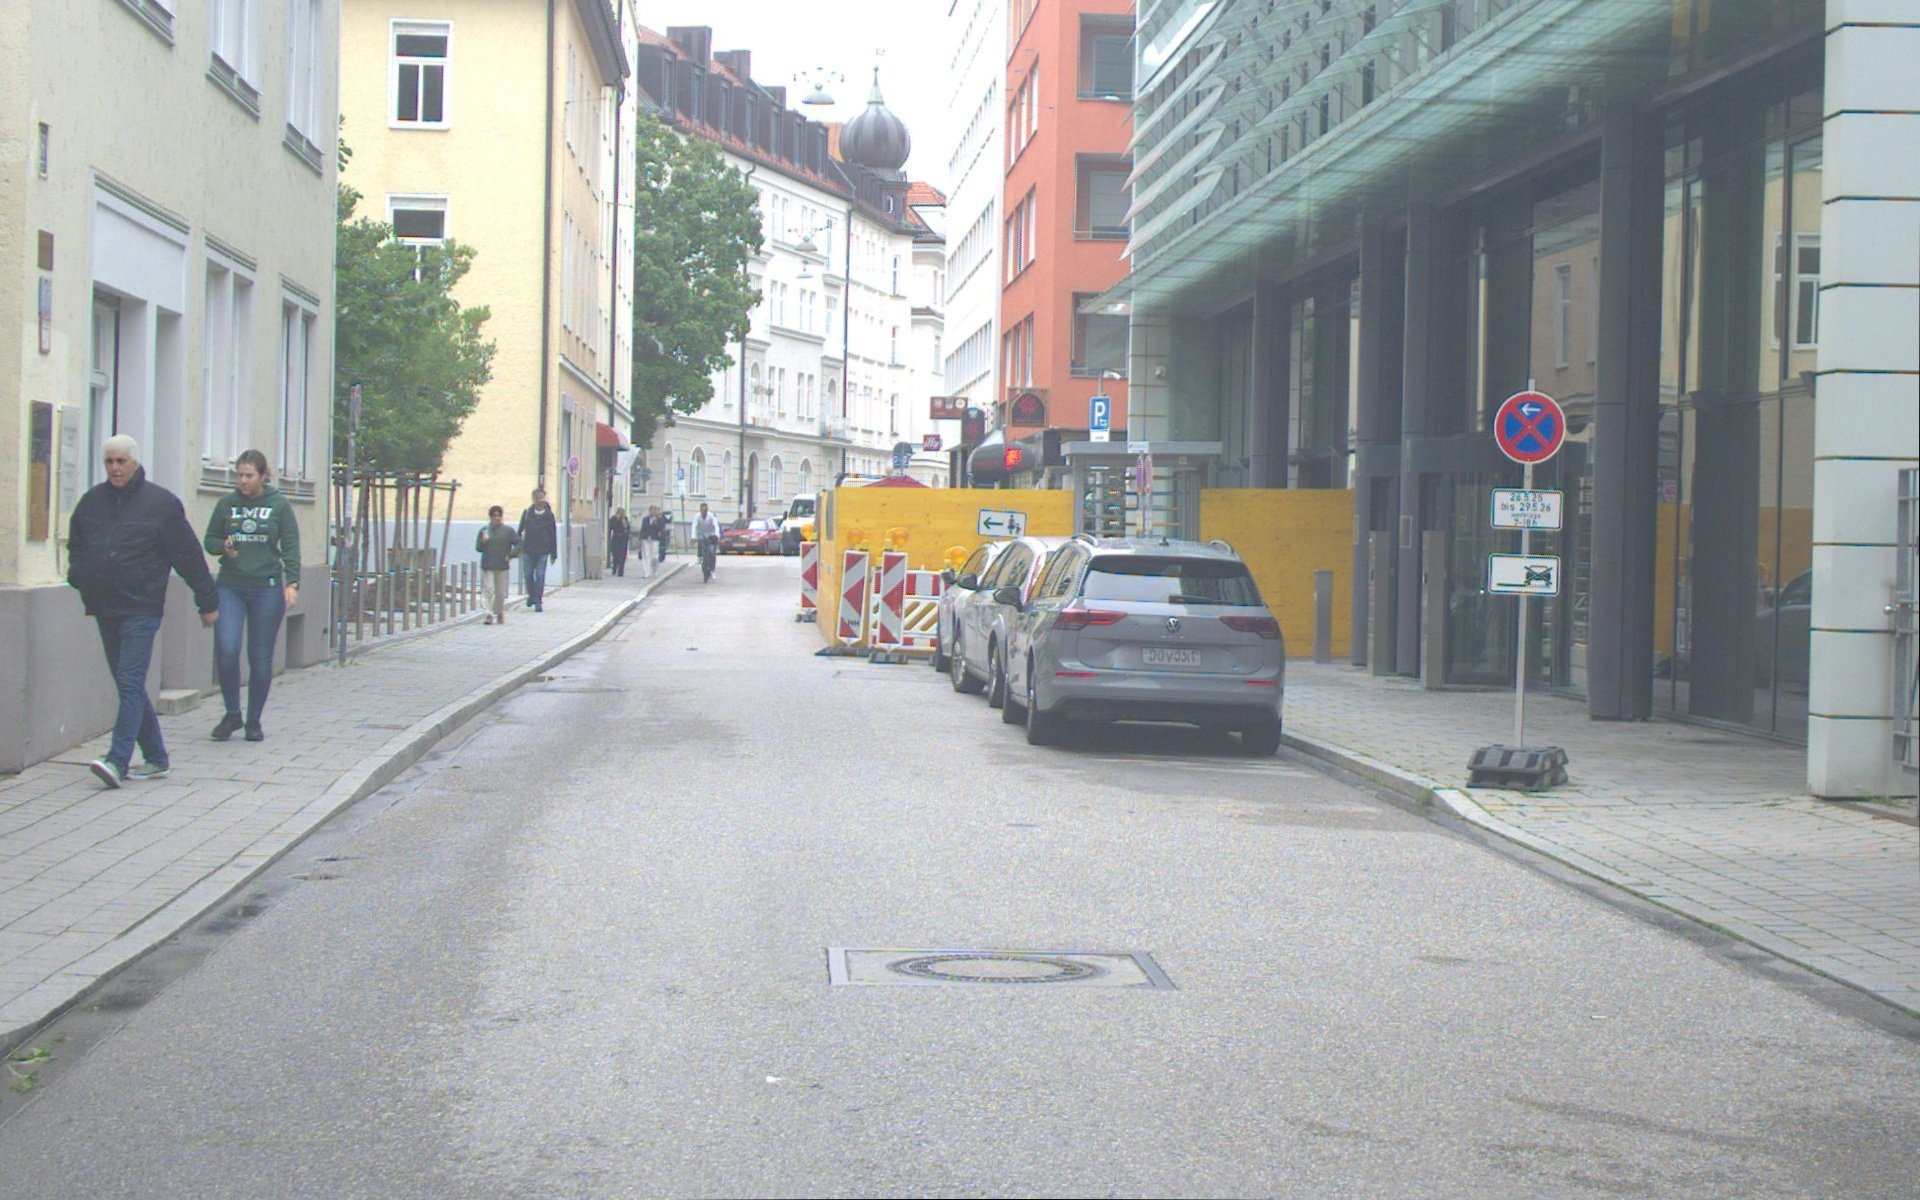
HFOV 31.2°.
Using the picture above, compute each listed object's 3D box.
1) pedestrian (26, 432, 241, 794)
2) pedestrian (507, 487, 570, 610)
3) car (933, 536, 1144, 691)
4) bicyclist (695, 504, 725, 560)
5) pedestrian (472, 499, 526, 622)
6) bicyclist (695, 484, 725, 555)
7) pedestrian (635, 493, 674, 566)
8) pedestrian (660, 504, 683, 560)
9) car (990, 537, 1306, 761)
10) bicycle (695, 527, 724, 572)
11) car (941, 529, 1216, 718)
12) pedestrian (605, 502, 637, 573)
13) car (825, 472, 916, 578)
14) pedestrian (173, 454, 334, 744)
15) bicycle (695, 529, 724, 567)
[{"bbox_3d":[-4.316,0.057,18.018,0.905,1.821,0.956,2,1,-4],"label":"pedestrian"},{"bbox_3d":[-6.605,-0.816,53.946,0.867,1.875,1.135,2,1,-4],"label":"pedestrian"},{"bbox_3d":[0.740,0.095,35.280,1.707,1.409,4.510,3,1,-4],"label":"car"},{"bbox_3d":[-6.174,-1.689,84.928,0.707,1.366,0.813,1,1,-4],"label":"bicyclist"},{"bbox_3d":[-6.396,-0.547,47.745,0.647,1.670,0.724,2,1,-4],"label":"pedestrian"},{"bbox_3d":[-5.874,-1.898,80.806,0.659,1.637,0.895,1,1,-4],"label":"bicyclist"},{"bbox_3d":[-7.194,-1.657,80.986,0.839,1.694,0.803,2,1,-4],"label":"pedestrian"},{"bbox_3d":[-8.705,-2.058,103.801,0.634,1.669,0.518,2,1,-4],"label":"pedestrian"},{"bbox_3d":[1.262,0.287,24.839,1.707,1.427,4.330,1,1,-4],"label":"car"},{"bbox_3d":[-5.891,-1.192,80.905,0.661,1.035,2.005,1,1,-4],"label":"bicycle"},{"bbox_3d":[0.960,0.154,30.124,1.707,1.462,4.238,3,1,-7],"label":"car"},{"bbox_3d":[-8.016,-1.481,81.203,0.670,1.642,0.762,2,1,-4],"label":"pedestrian"},{"bbox_3d":[-2.300,-1.910,87.298,1.993,2.528,4.976,2,1,-4],"label":"car"},{"bbox_3d":[-4.234,-0.014,20.663,0.712,1.660,0.930,4,1,-4],"label":"pedestrian"},{"bbox_3d":[-6.183,-1.294,84.917,0.707,0.902,1.810,1,1,-4],"label":"bicycle"}]
